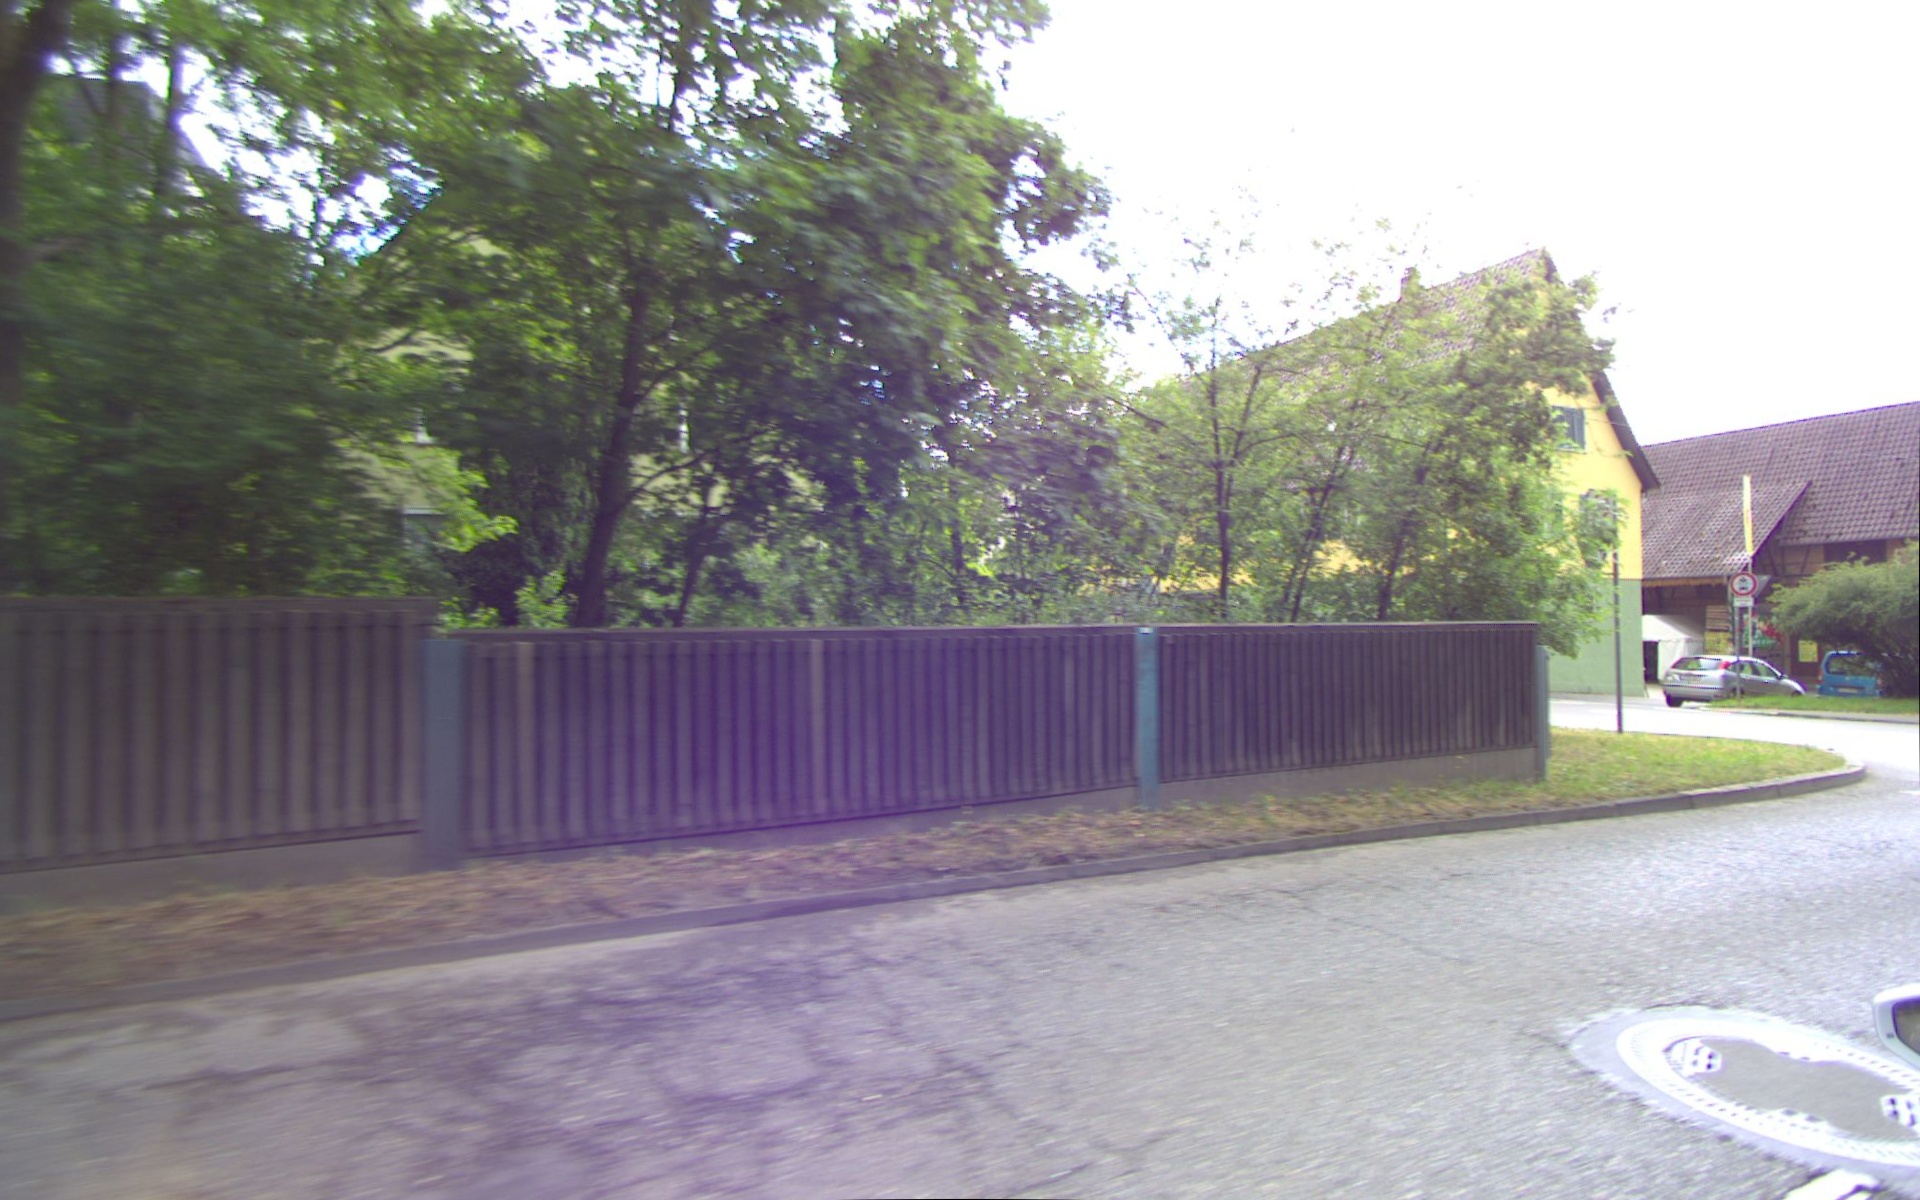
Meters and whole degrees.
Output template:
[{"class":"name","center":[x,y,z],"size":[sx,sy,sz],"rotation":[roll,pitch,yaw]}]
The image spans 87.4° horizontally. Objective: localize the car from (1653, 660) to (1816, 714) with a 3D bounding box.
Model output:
[{"class":"car","center":[21.139,2.345,27.419],"size":[4.091,1.362,1.643],"rotation":[1,-4,-22]}]

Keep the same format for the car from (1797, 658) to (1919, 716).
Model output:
[{"class":"car","center":[27.709,2.574,30.127],"size":[4.379,1.638,1.992],"rotation":[1,-4,-20]}]
